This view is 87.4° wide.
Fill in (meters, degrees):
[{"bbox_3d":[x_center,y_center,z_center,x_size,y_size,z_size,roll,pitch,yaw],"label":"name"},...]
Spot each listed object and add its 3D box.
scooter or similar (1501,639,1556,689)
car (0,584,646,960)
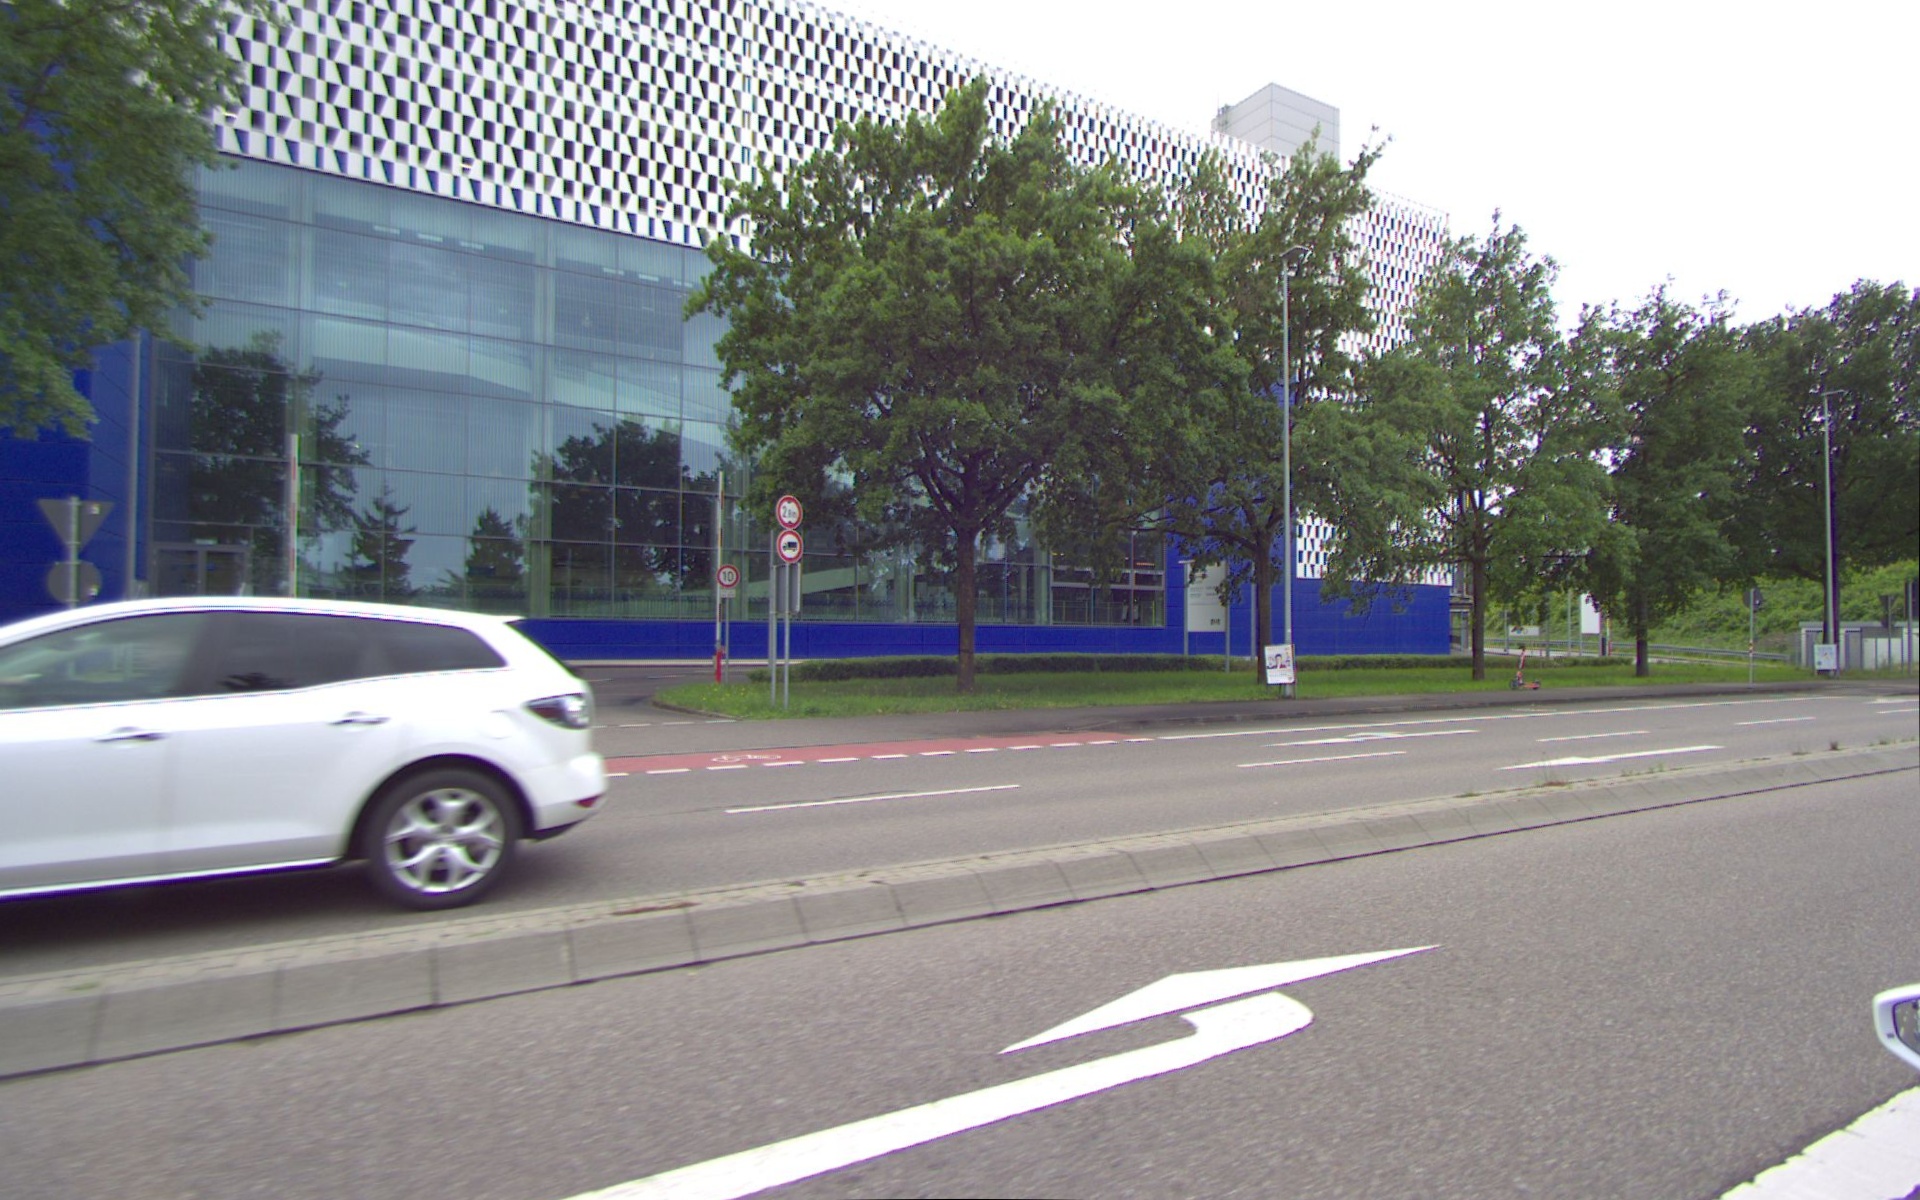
[{"bbox_3d":[15.619,1.753,27.602,1.482,1.339,0.446,1,-2,-20],"label":"scooter or similar"},{"bbox_3d":[-4.147,0.794,5.351,4.460,1.607,1.810,1,-4,-30],"label":"car"}]
